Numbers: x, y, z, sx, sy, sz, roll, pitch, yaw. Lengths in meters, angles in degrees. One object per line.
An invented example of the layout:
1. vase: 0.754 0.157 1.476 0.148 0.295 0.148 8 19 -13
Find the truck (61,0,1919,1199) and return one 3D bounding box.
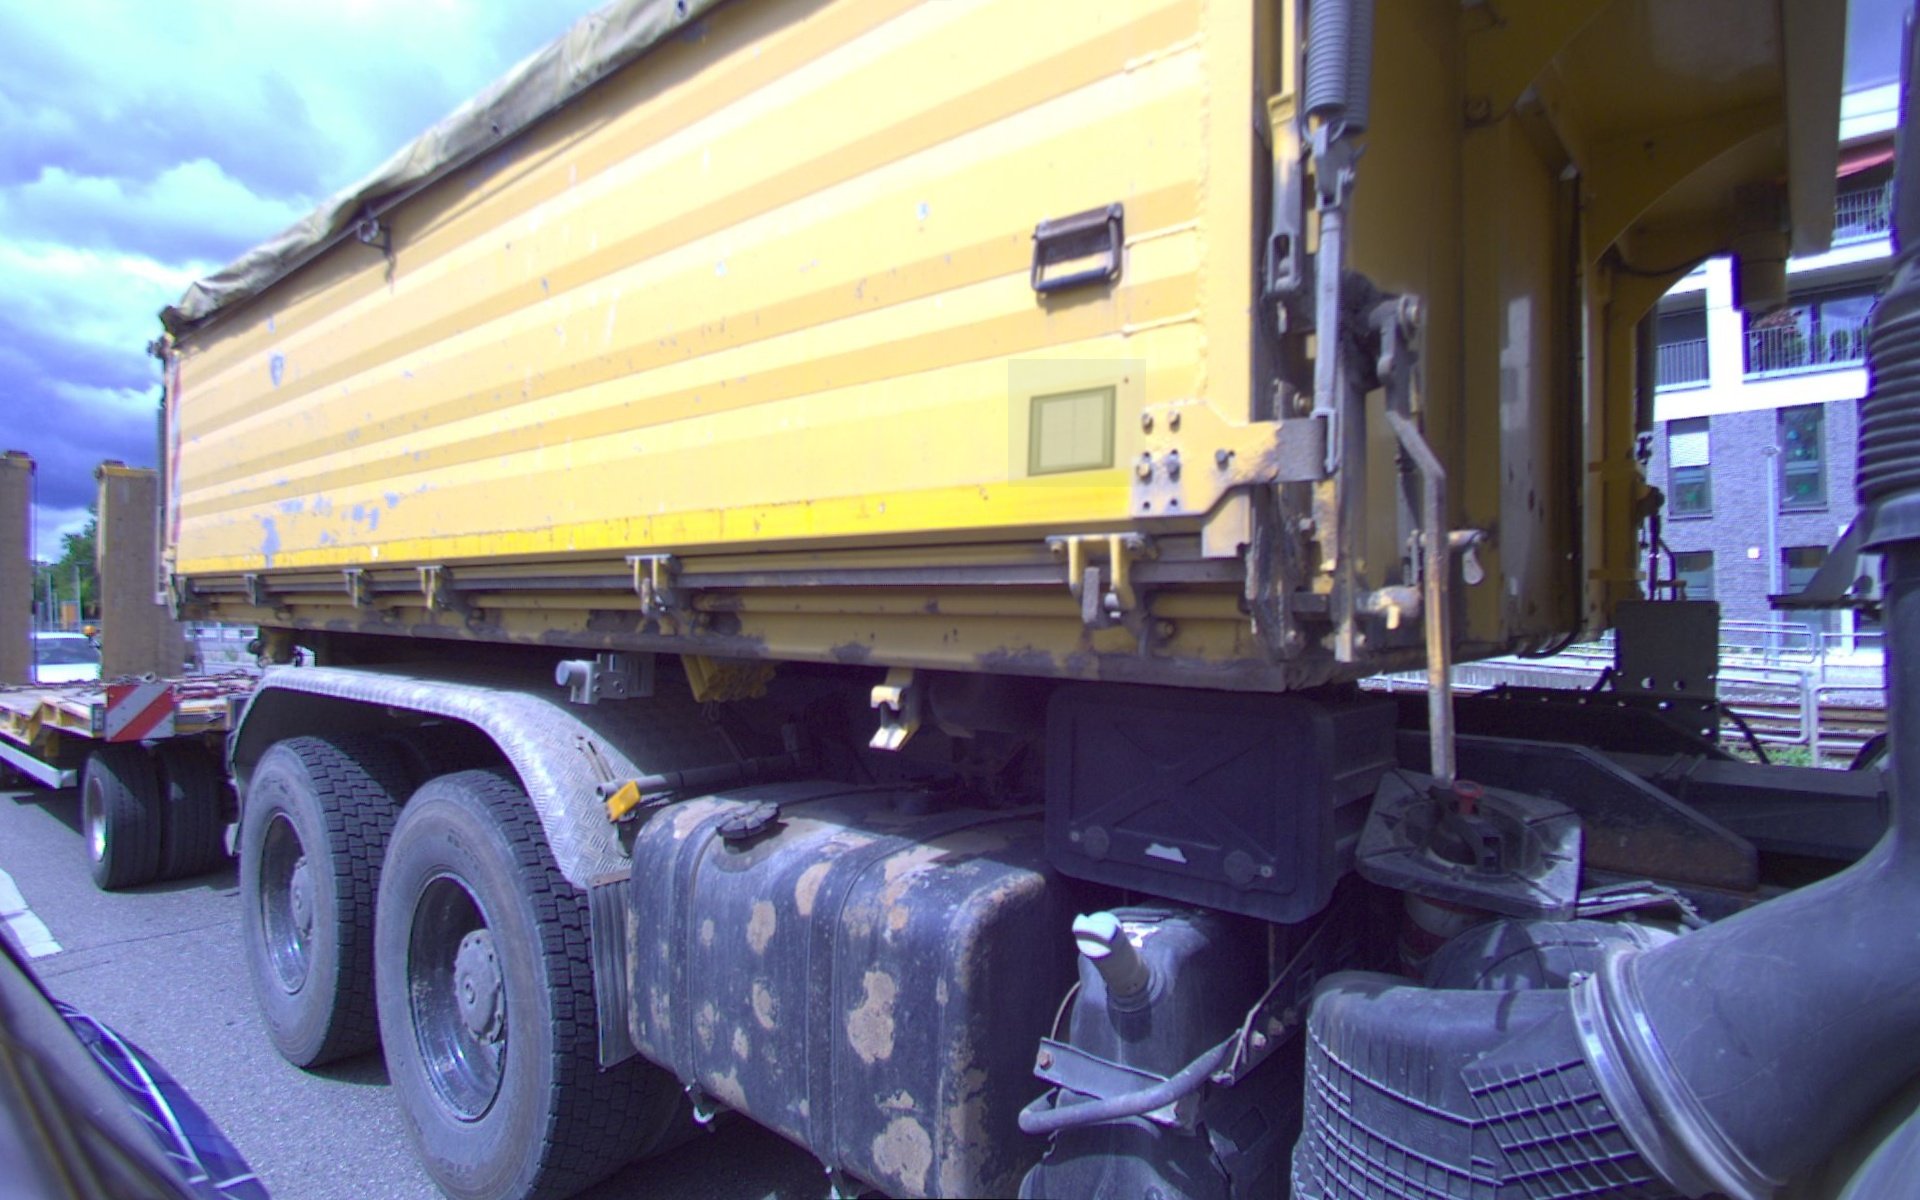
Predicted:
1. truck: 0.172 -0.226 2.924 7.999 3.420 3.019 -2 -1 40

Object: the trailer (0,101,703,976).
1. trailer: -6.848 -0.142 9.019 10.957 3.726 3.018 -2 -1 40

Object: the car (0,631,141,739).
1. car: -13.972 1.209 15.387 3.784 1.427 1.761 -2 -1 41
